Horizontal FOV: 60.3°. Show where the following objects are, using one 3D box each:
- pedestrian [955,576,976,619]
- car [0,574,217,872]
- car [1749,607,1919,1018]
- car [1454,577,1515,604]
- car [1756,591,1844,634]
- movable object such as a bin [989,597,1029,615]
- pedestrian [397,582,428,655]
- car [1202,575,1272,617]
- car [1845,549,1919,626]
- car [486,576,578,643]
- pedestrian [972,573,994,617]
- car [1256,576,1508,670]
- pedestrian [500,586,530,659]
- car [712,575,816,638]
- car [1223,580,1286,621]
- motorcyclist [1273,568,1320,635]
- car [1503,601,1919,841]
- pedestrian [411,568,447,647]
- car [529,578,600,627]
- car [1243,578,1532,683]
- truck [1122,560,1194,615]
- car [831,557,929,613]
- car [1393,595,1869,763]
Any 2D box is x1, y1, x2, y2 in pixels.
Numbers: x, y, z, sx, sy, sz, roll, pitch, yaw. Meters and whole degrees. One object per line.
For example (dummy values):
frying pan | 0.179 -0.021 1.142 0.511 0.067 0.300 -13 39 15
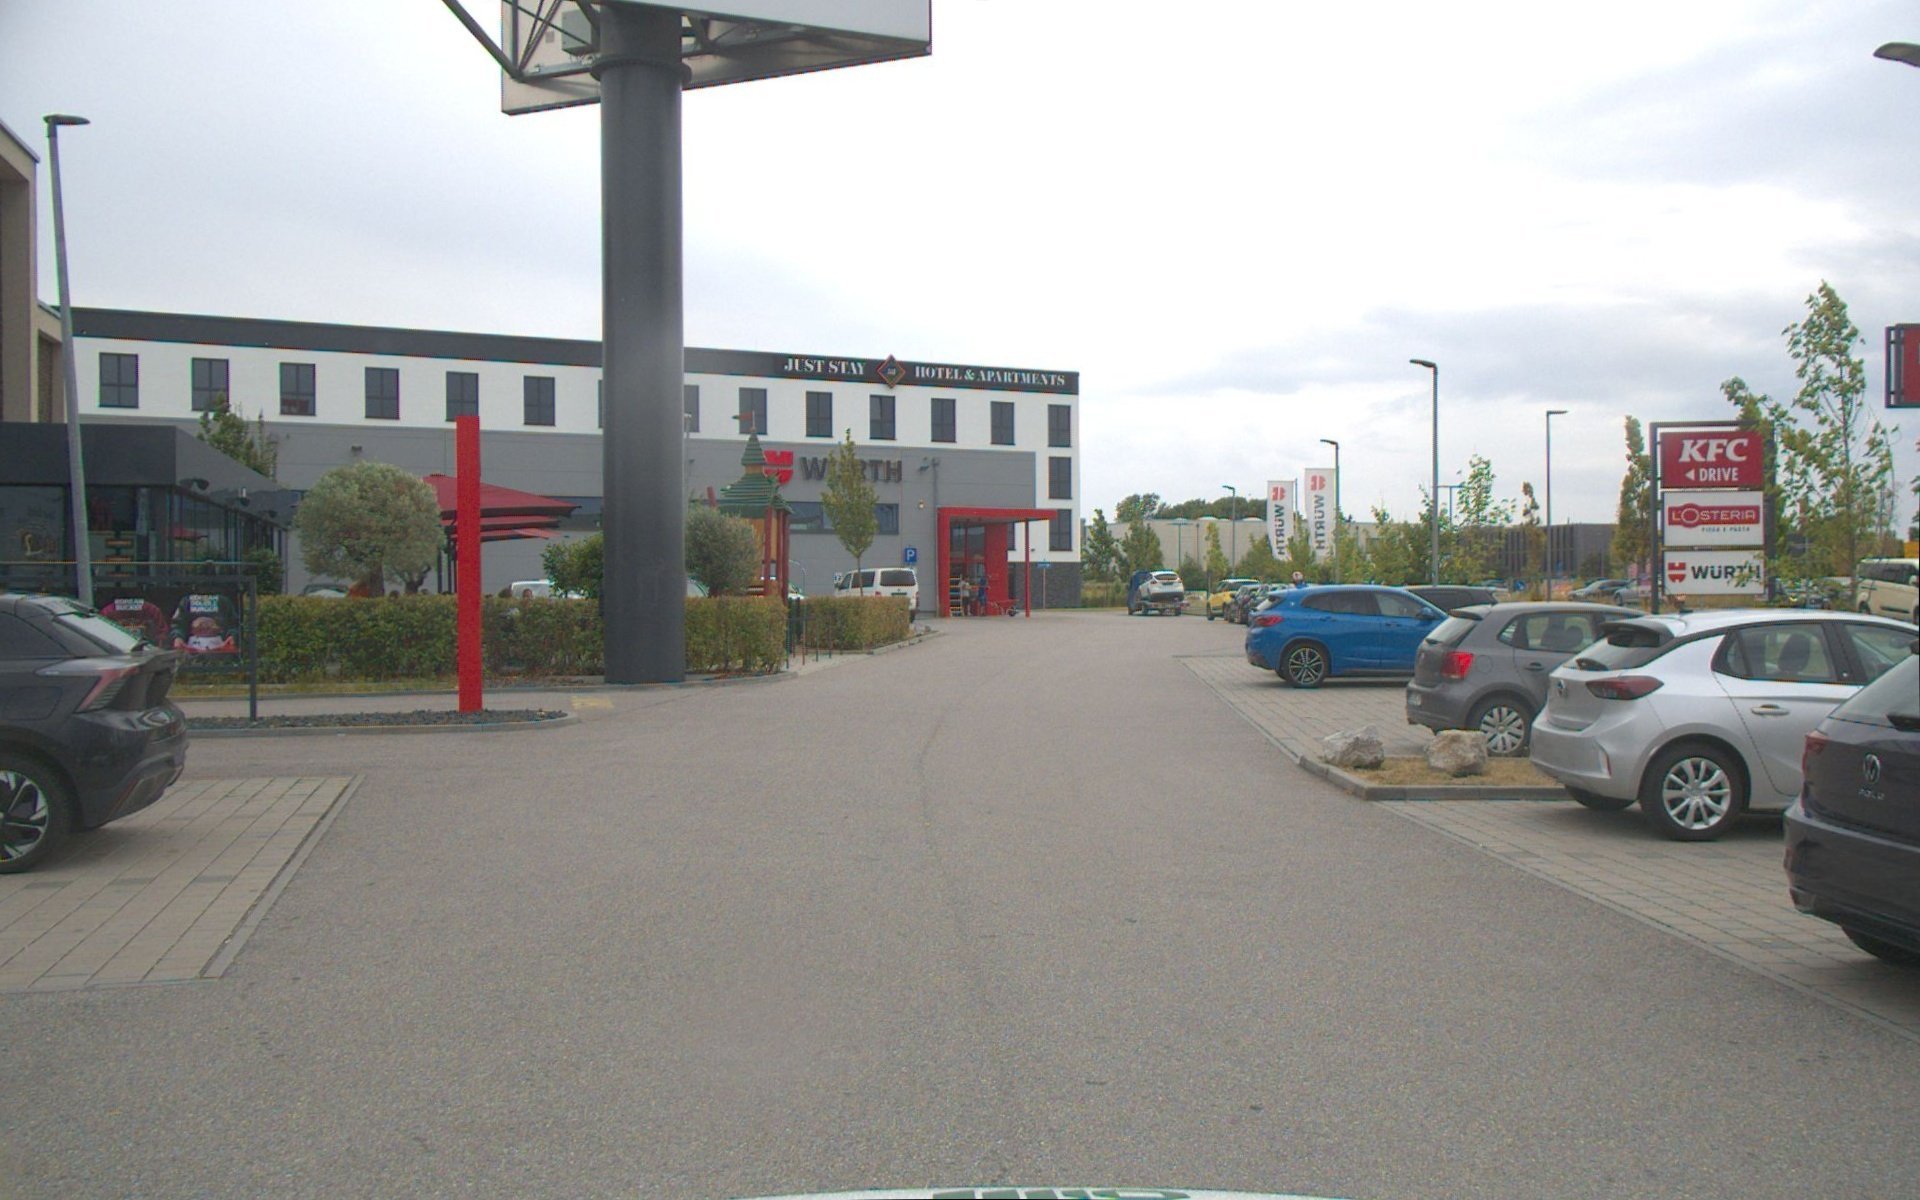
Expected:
pedestrian | 0.229 -0.103 69.531 0.614 1.782 0.901 -1 0 -16
car | -6.445 0.635 9.110 4.042 1.555 1.734 0 0 -16
car | 5.247 0.795 6.225 3.719 1.437 1.738 1 0 -2
car | 32.760 -0.566 103.458 1.762 1.579 4.846 -2 0 -7
car | 28.126 0.408 55.447 1.431 1.360 3.164 -1 1 2
movable object such as a bin | 2.085 0.255 70.324 1.466 0.716 0.960 0 0 -19
pedestrian | -9.316 0.310 28.151 0.412 1.220 0.455 -2 0 -11
car | 11.498 -0.145 68.880 1.821 1.679 3.994 1 0 -7
car | 27.522 -0.406 47.307 1.951 2.122 5.234 -1 1 5
car | -11.960 0.259 45.995 1.965 1.679 4.550 -2 0 -21
pedestrian | 0.969 -0.229 69.827 0.666 1.834 0.876 1 0 -18
car | 7.156 0.377 28.367 3.975 1.485 1.777 -1 1 7
pedestrian | -7.596 0.388 28.237 0.412 1.220 0.455 -2 0 -11
car | -5.792 0.189 48.352 1.965 1.679 4.550 -2 0 -21
car | 11.087 0.011 62.489 1.715 1.495 4.108 0 0 1
motorcyclist | 7.781 0.024 38.227 0.919 1.515 0.831 -1 0 2
car | 5.915 0.775 11.224 3.846 1.437 1.840 1 0 0
pedestrian | -12.276 0.169 38.236 0.729 1.778 0.700 -2 0 -19
car | -13.861 0.089 57.789 1.713 1.579 4.234 -2 0 -23
car | 6.576 0.455 25.805 4.113 1.571 1.866 0 0 5
truck | 10.144 -0.577 85.440 2.285 2.449 7.888 1 -2 -4
car | -3.041 -0.532 61.879 2.033 1.887 4.023 -5 2 -29
car | 6.350 0.718 15.993 3.903 1.453 1.728 1 0 3
